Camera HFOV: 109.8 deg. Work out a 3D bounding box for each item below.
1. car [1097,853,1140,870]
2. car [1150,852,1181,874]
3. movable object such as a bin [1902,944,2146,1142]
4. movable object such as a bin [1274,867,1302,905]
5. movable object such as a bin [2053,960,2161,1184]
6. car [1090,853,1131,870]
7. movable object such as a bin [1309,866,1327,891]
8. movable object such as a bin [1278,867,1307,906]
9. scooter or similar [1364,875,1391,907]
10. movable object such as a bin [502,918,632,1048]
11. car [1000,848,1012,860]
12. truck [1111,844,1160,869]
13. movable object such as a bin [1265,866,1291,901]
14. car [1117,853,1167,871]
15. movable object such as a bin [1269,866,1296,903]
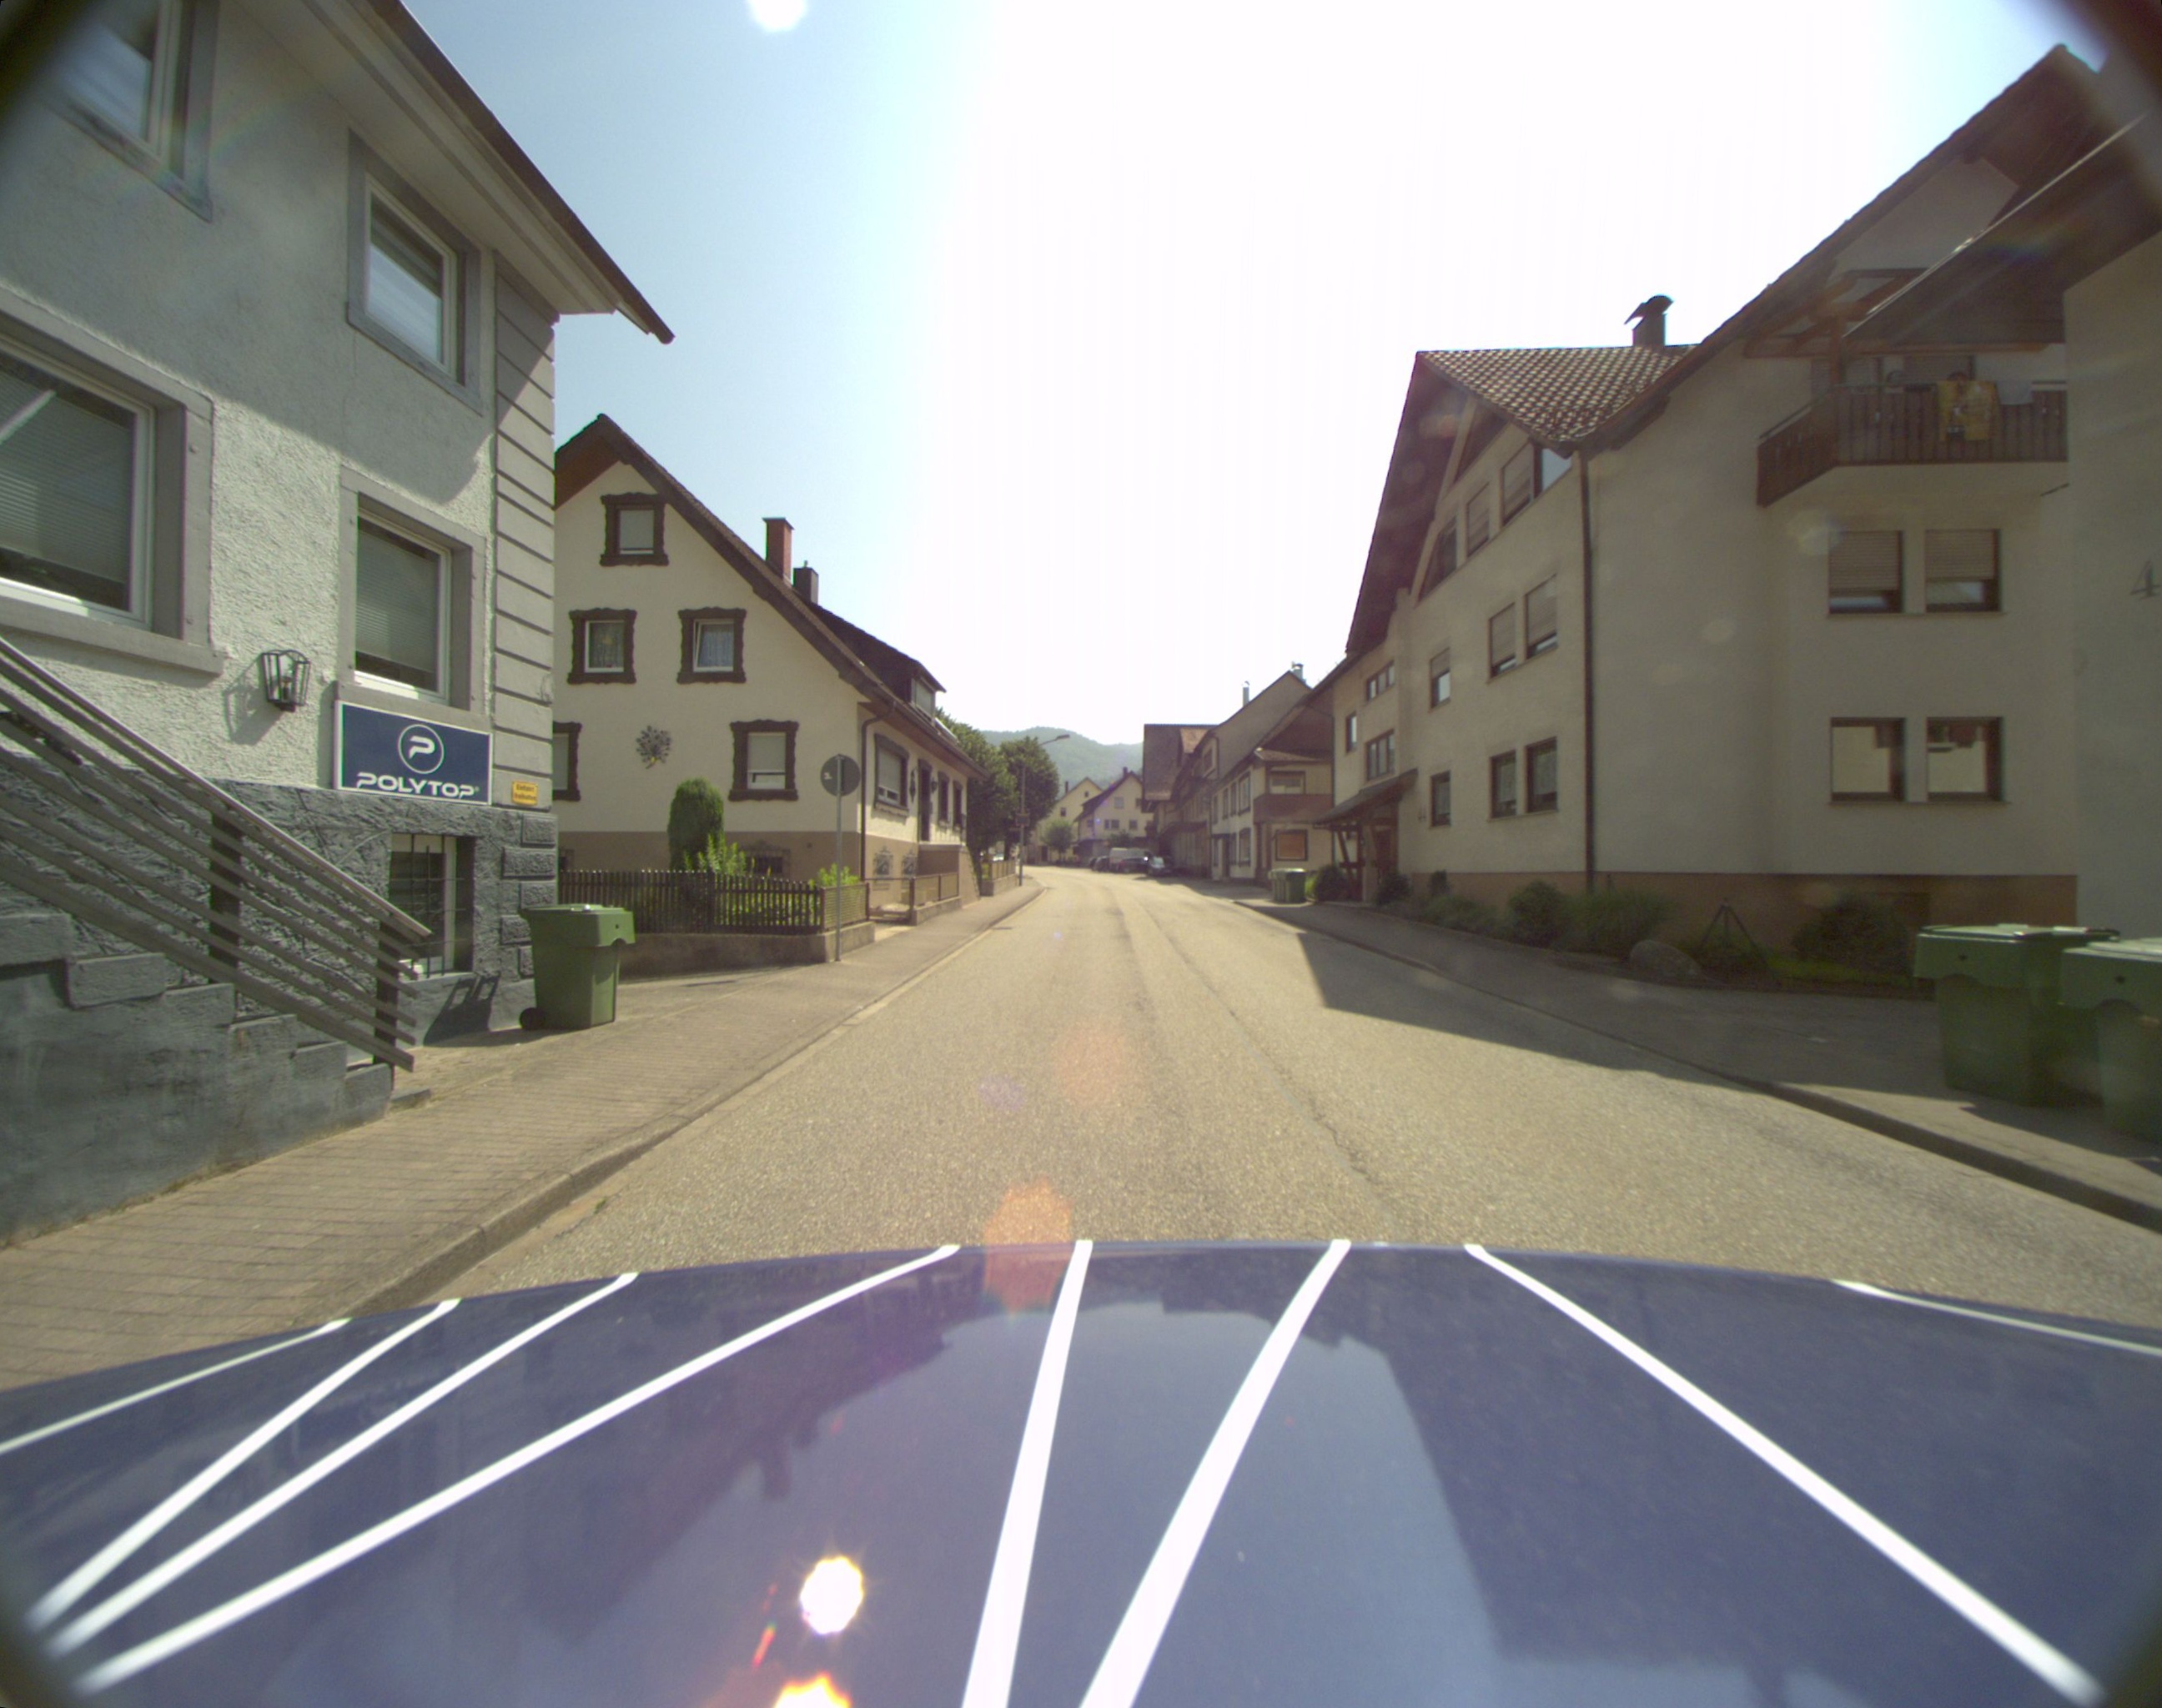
[{"bbox_3d":[3.613,0.724,73.216,3.998,1.444,1.627,2,0,-3],"label":"car"},{"bbox_3d":[6.258,0.646,56.814,1.774,1.544,4.284,-1,0,-1],"label":"car"},{"bbox_3d":[5.800,1.134,4.717,0.677,1.060,0.653,1,1,0],"label":"movable object such as a bin"},{"bbox_3d":[6.715,1.023,24.714,0.719,1.174,0.598,2,1,2],"label":"movable object such as a bin"},{"bbox_3d":[5.738,1.121,3.899,0.677,1.060,0.621,1,1,0],"label":"movable object such as a bin"},{"bbox_3d":[2.941,0.717,76.293,3.996,1.563,1.577,2,0,3],"label":"car"},{"bbox_3d":[10.645,1.100,34.169,0.608,1.045,0.632,2,1,1],"label":"movable object such as a bin"},{"bbox_3d":[6.698,1.032,24.057,0.719,1.174,0.598,2,1,2],"label":"movable object such as a bin"},{"bbox_3d":[7.858,0.975,20.121,0.507,0.821,0.537,0,0,1],"label":"scooter or similar"},{"bbox_3d":[-4.443,1.096,6.605,0.706,1.014,0.618,1,1,3],"label":"movable object such as a bin"},{"bbox_3d":[-14.095,0.023,142.852,1.999,2.001,4.000,1,-2,-4],"label":"car"},{"bbox_3d":[4.917,0.206,69.250,4.178,2.253,1.999,0,1,-4],"label":"truck"},{"bbox_3d":[6.749,1.007,26.025,0.719,1.174,0.598,2,1,2],"label":"movable object such as a bin"},{"bbox_3d":[5.147,0.675,64.296,4.105,1.494,1.753,1,0,0],"label":"car"},{"bbox_3d":[6.718,1.015,25.366,0.719,1.174,0.598,2,1,2],"label":"movable object such as a bin"}]
